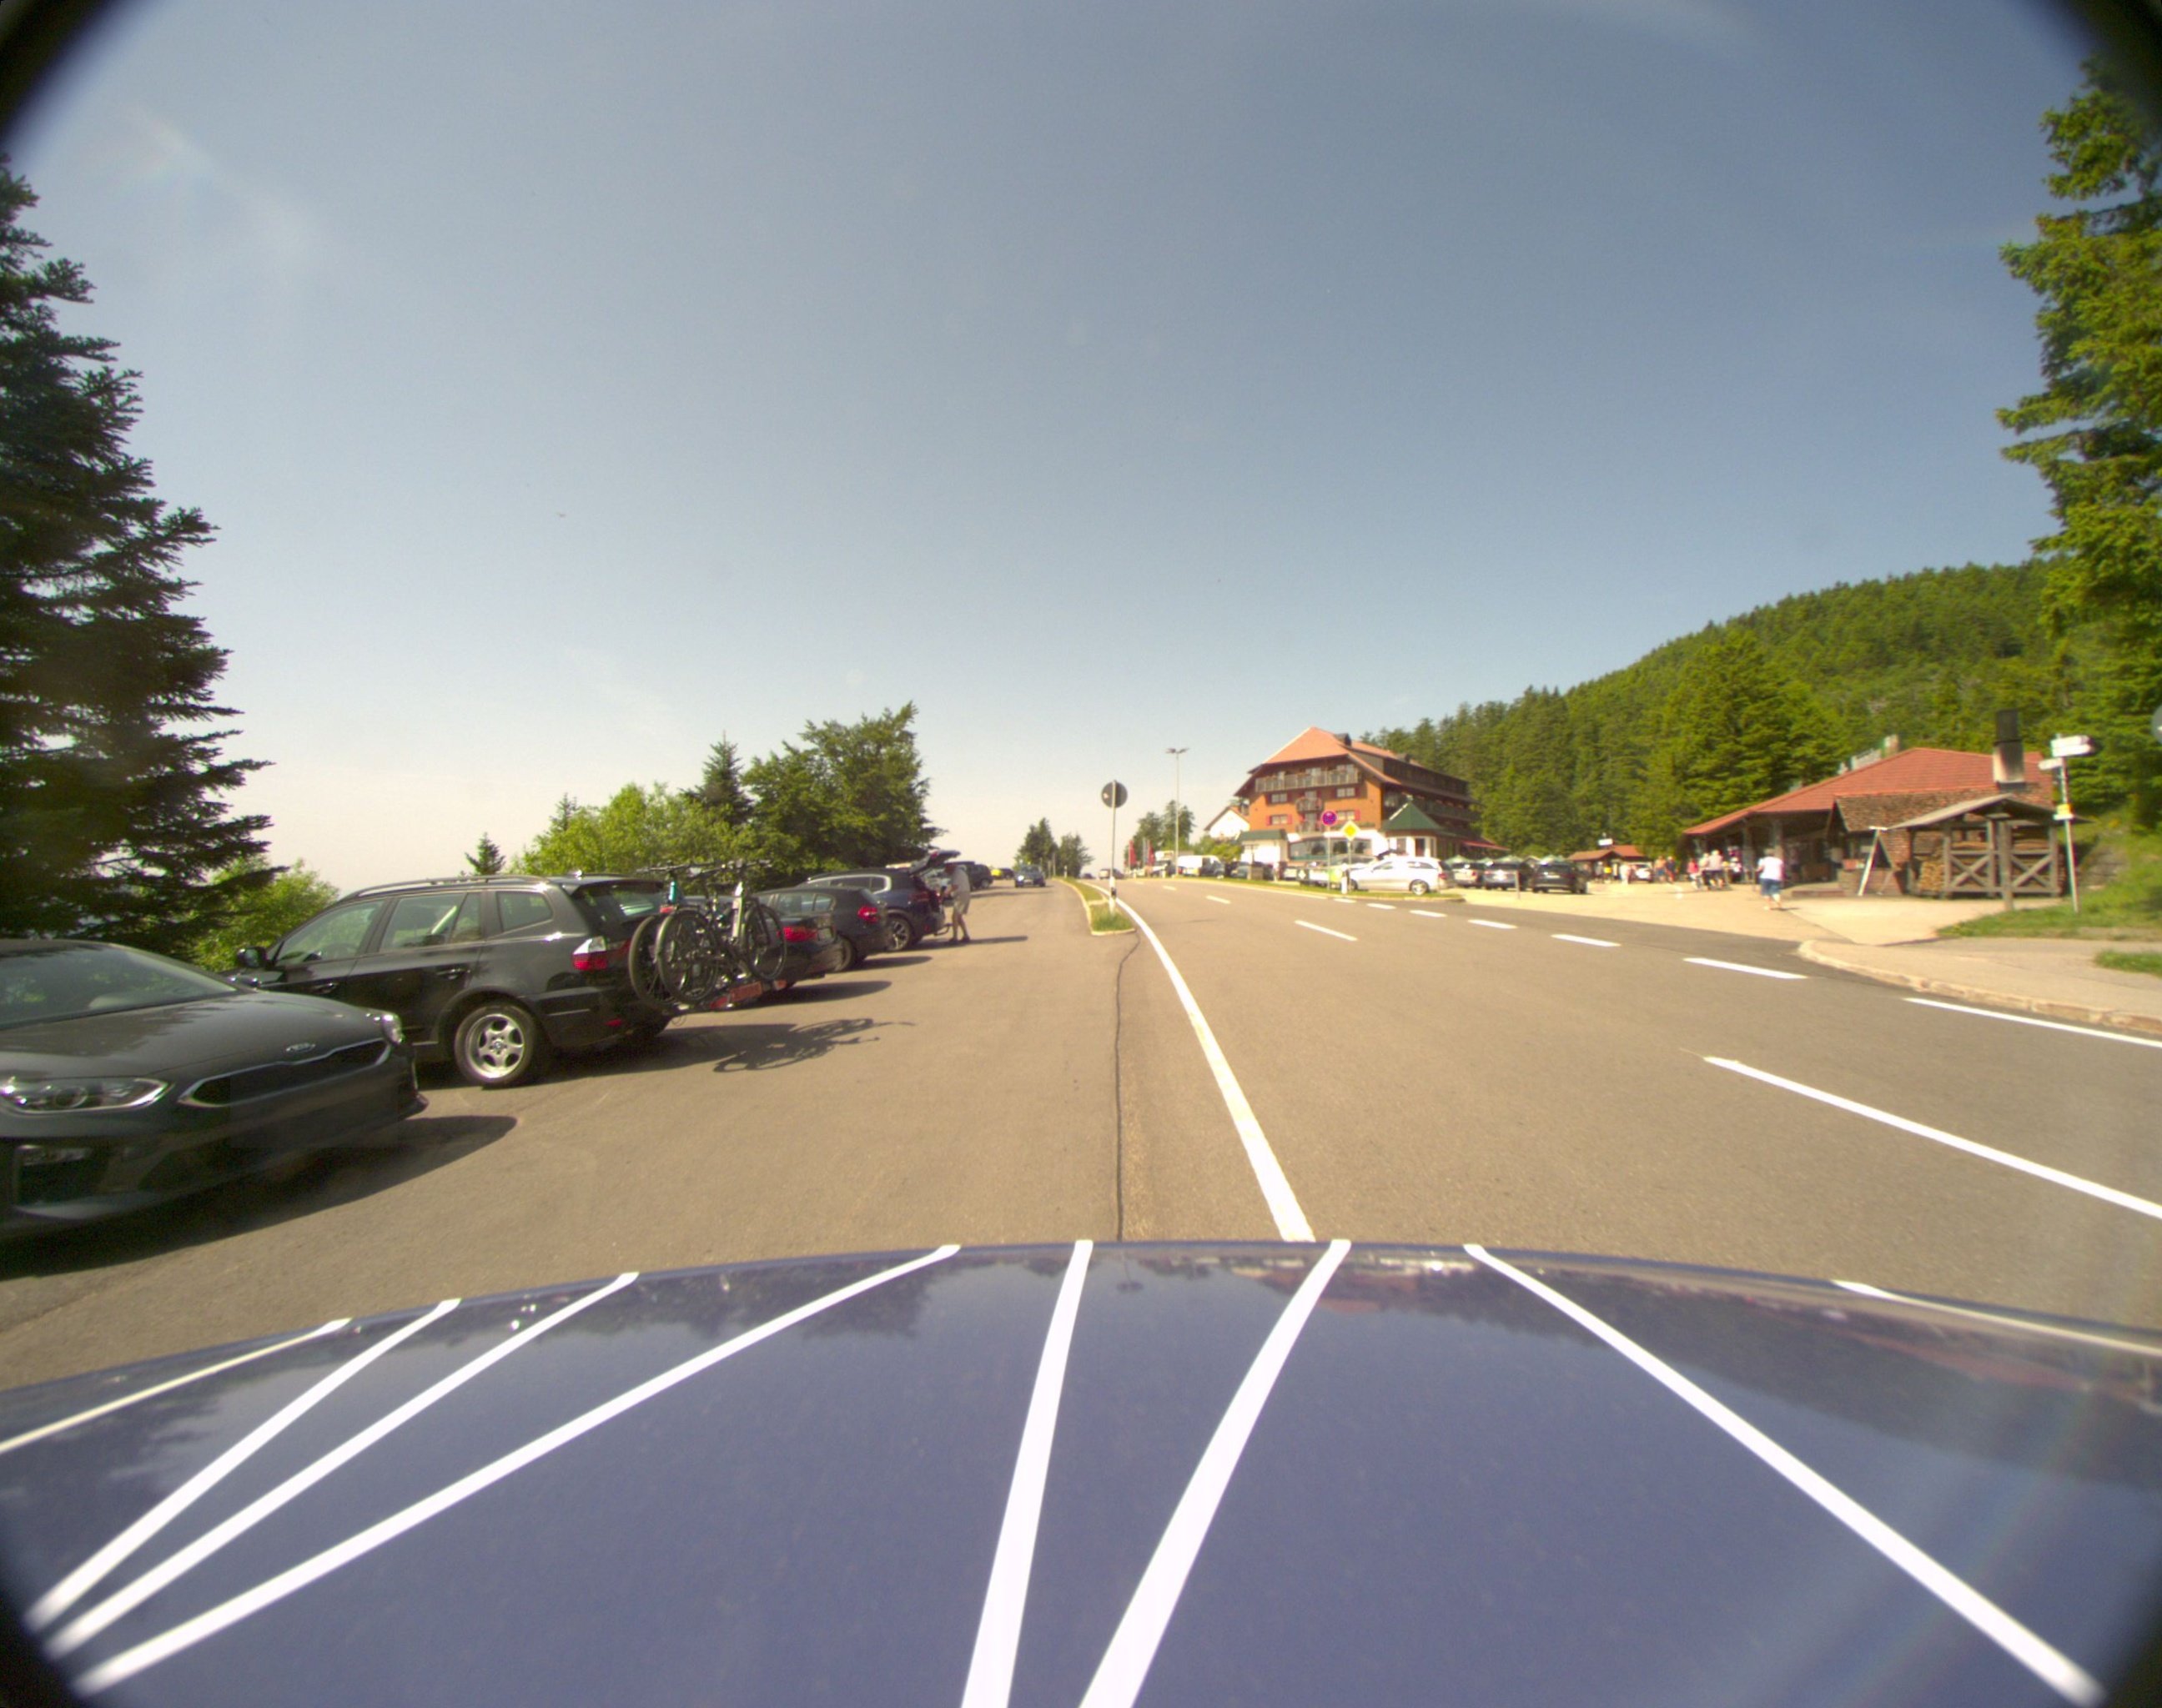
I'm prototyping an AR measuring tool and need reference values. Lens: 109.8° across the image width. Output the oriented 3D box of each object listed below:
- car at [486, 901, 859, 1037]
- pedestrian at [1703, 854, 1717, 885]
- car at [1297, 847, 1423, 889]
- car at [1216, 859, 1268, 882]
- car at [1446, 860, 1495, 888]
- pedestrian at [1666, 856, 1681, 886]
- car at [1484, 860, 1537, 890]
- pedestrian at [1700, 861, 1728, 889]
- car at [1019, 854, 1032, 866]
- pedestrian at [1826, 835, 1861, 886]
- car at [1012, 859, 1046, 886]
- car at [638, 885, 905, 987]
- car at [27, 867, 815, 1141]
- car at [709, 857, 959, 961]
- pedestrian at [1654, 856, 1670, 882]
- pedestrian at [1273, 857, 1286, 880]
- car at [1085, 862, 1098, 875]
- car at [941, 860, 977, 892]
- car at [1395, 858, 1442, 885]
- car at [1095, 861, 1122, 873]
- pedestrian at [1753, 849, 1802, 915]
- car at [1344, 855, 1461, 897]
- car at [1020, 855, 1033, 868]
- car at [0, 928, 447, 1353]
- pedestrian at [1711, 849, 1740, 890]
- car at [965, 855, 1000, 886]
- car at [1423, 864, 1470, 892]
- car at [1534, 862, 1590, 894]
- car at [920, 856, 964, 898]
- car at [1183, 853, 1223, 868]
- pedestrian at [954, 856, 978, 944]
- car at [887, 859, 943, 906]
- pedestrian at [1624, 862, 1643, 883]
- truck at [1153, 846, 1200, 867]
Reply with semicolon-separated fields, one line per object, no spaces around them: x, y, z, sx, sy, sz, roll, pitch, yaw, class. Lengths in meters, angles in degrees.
-4.863;1.357;9.372;3.708;1.261;1.565;-3;-1;2;car
32.825;0.808;39.634;0.521;1.613;0.538;-1;0;38;pedestrian
13.368;0.677;36.533;5.349;1.858;2.004;-1;0;34;car
11.855;1.223;55.957;1.719;1.583;3.325;-1;0;-44;car
20.912;1.037;40.730;1.636;1.425;3.323;-1;-1;40;car
35.530;1.012;45.574;0.469;1.755;0.572;-1;0;-36;pedestrian
21.247;1.018;37.522;1.714;1.425;3.323;-1;-1;40;car
26.866;0.888;32.248;0.770;1.190;0.891;-1;0;32;pedestrian
-9.250;0.947;126.803;1.953;1.970;4.068;-1;0;-7;car
30.685;0.268;30.588;0.894;2.002;0.789;-1;1;41;pedestrian
-3.267;1.156;48.323;1.999;1.537;3.998;-2;0;-3;car
-4.950;1.292;12.582;3.684;1.343;1.738;-2;0;-4;car
-5.284;1.150;6.592;5.112;1.610;2.000;-5;0;3;car
-4.874;1.054;15.466;4.323;1.811;2.000;-2;0;2;car
37.330;0.938;48.804;0.534;1.664;0.681;-1;0;-36;pedestrian
14.870;1.065;56.935;0.779;1.689;0.684;-1;0;5;pedestrian
1.865;2.459;131.695;1.999;2.200;3.999;-2;0;-2;car
-7.334;1.283;45.968;2.000;1.733;3.997;-2;0;-9;car
20.882;1.077;47.004;1.710;1.543;3.141;-1;0;42;car
3.582;1.710;98.789;2.002;1.402;3.992;-2;0;-23;car
18.976;0.750;20.702;0.638;1.731;0.910;-2;0;-43;pedestrian
12.820;0.861;30.406;3.952;1.578;1.793;-1;0;39;car
-8.777;1.230;121.838;1.999;2.002;3.998;-2;0;-5;car
-6.042;1.305;3.872;4.322;1.423;1.690;-4;0;6;car
26.566;0.624;31.323;0.770;1.657;0.891;-1;0;32;pedestrian
-6.730;1.100;51.654;2.000;2.002;3.996;-2;0;-11;car
21.306;1.369;44.238;1.727;1.457;3.527;-2;1;39;car
21.967;1.080;34.660;1.708;1.387;3.323;-1;-1;40;car
-7.217;1.148;39.786;2.000;2.002;3.997;-2;0;-7;car
16.355;0.812;102.052;5.248;1.894;2.001;-1;0;7;car
-2.420;0.955;16.034;0.367;1.812;0.549;-1;0;1;pedestrian
-7.133;1.177;32.968;1.867;1.830;3.881;-2;0;-6;car
38.794;1.294;53.381;0.985;1.487;0.891;-1;0;30;pedestrian
13.811;0.325;109.111;2.862;2.813;8.778;-2;1;35;truck
